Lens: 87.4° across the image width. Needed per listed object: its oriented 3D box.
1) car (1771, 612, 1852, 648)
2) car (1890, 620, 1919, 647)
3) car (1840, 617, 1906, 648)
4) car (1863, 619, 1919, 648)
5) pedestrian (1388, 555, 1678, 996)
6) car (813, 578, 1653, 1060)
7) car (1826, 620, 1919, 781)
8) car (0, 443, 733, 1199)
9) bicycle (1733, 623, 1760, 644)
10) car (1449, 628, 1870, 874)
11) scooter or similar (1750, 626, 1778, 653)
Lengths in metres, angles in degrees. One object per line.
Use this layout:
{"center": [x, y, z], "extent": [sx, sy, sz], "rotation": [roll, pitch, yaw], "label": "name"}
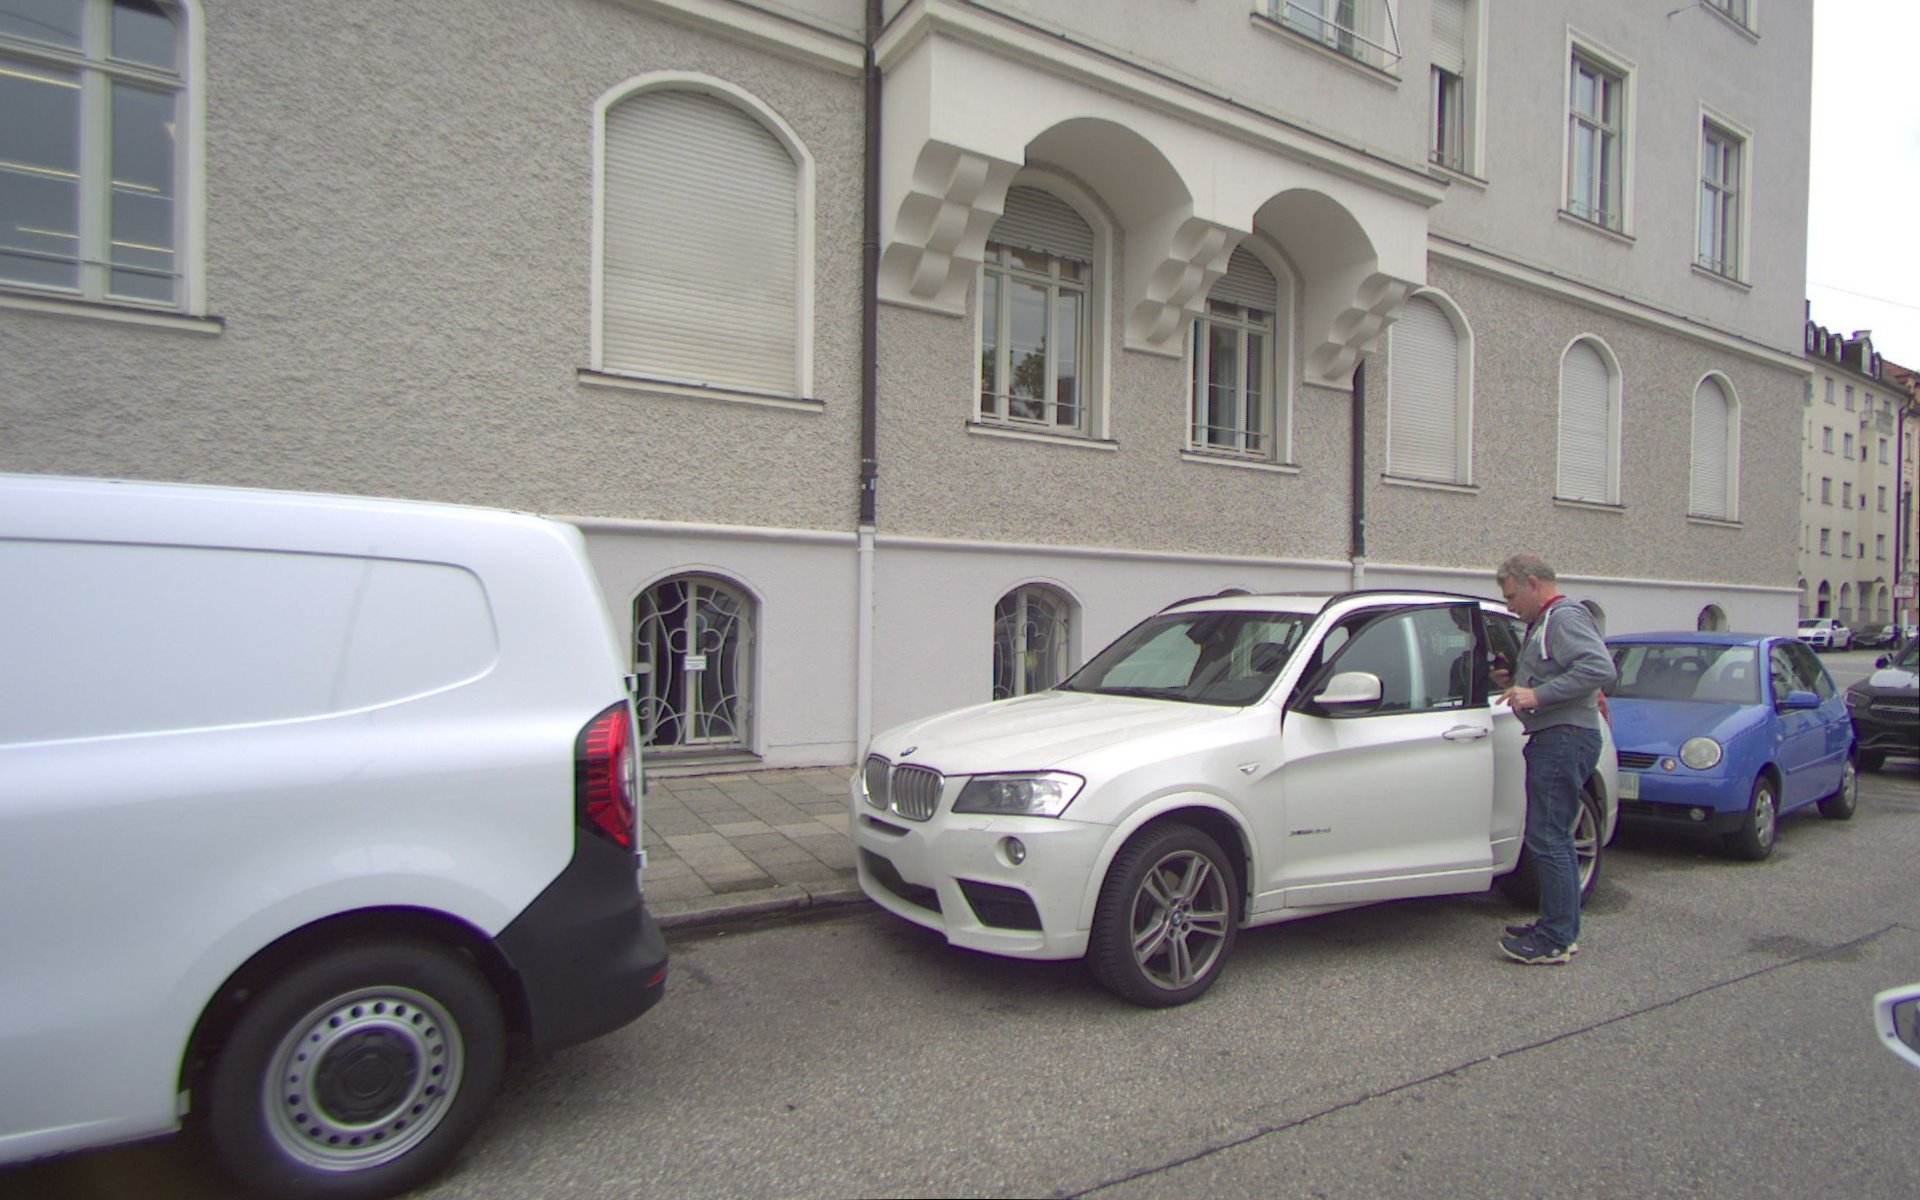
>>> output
{"center": [43.196, 1.513, 50.937], "extent": [4.791, 1.723, 1.963], "rotation": [1, 1, -35], "label": "car"}
{"center": [60.008, 2.093, 62.576], "extent": [4.360, 1.602, 1.964], "rotation": [1, 1, -33], "label": "car"}
{"center": [51.789, 1.824, 56.974], "extent": [4.669, 1.637, 1.961], "rotation": [1, 1, -37], "label": "car"}
{"center": [55.756, 1.962, 59.737], "extent": [4.360, 1.602, 1.964], "rotation": [1, 1, -33], "label": "car"}
{"center": [2.672, 0.705, 4.691], "extent": [0.871, 1.779, 0.951], "rotation": [1, 1, -45], "label": "pedestrian"}
{"center": [1.623, 0.792, 5.315], "extent": [4.445, 1.623, 1.738], "rotation": [1, -1, -32], "label": "car"}
{"center": [11.627, 1.057, 11.200], "extent": [4.445, 1.623, 1.738], "rotation": [1, -1, -32], "label": "car"}
{"center": [-3.245, 0.567, 2.432], "extent": [4.978, 1.812, 1.738], "rotation": [1, -1, -31], "label": "car"}
{"center": [40.210, 1.692, 51.329], "extent": [1.812, 1.063, 0.559], "rotation": [1, 0, -35], "label": "bicycle"}
{"center": [5.482, 0.947, 7.738], "extent": [3.630, 1.433, 1.679], "rotation": [1, -1, -38], "label": "car"}
{"center": [38.736, 1.899, 48.414], "extent": [0.458, 1.209, 1.216], "rotation": [1, 0, 6], "label": "scooter or similar"}
